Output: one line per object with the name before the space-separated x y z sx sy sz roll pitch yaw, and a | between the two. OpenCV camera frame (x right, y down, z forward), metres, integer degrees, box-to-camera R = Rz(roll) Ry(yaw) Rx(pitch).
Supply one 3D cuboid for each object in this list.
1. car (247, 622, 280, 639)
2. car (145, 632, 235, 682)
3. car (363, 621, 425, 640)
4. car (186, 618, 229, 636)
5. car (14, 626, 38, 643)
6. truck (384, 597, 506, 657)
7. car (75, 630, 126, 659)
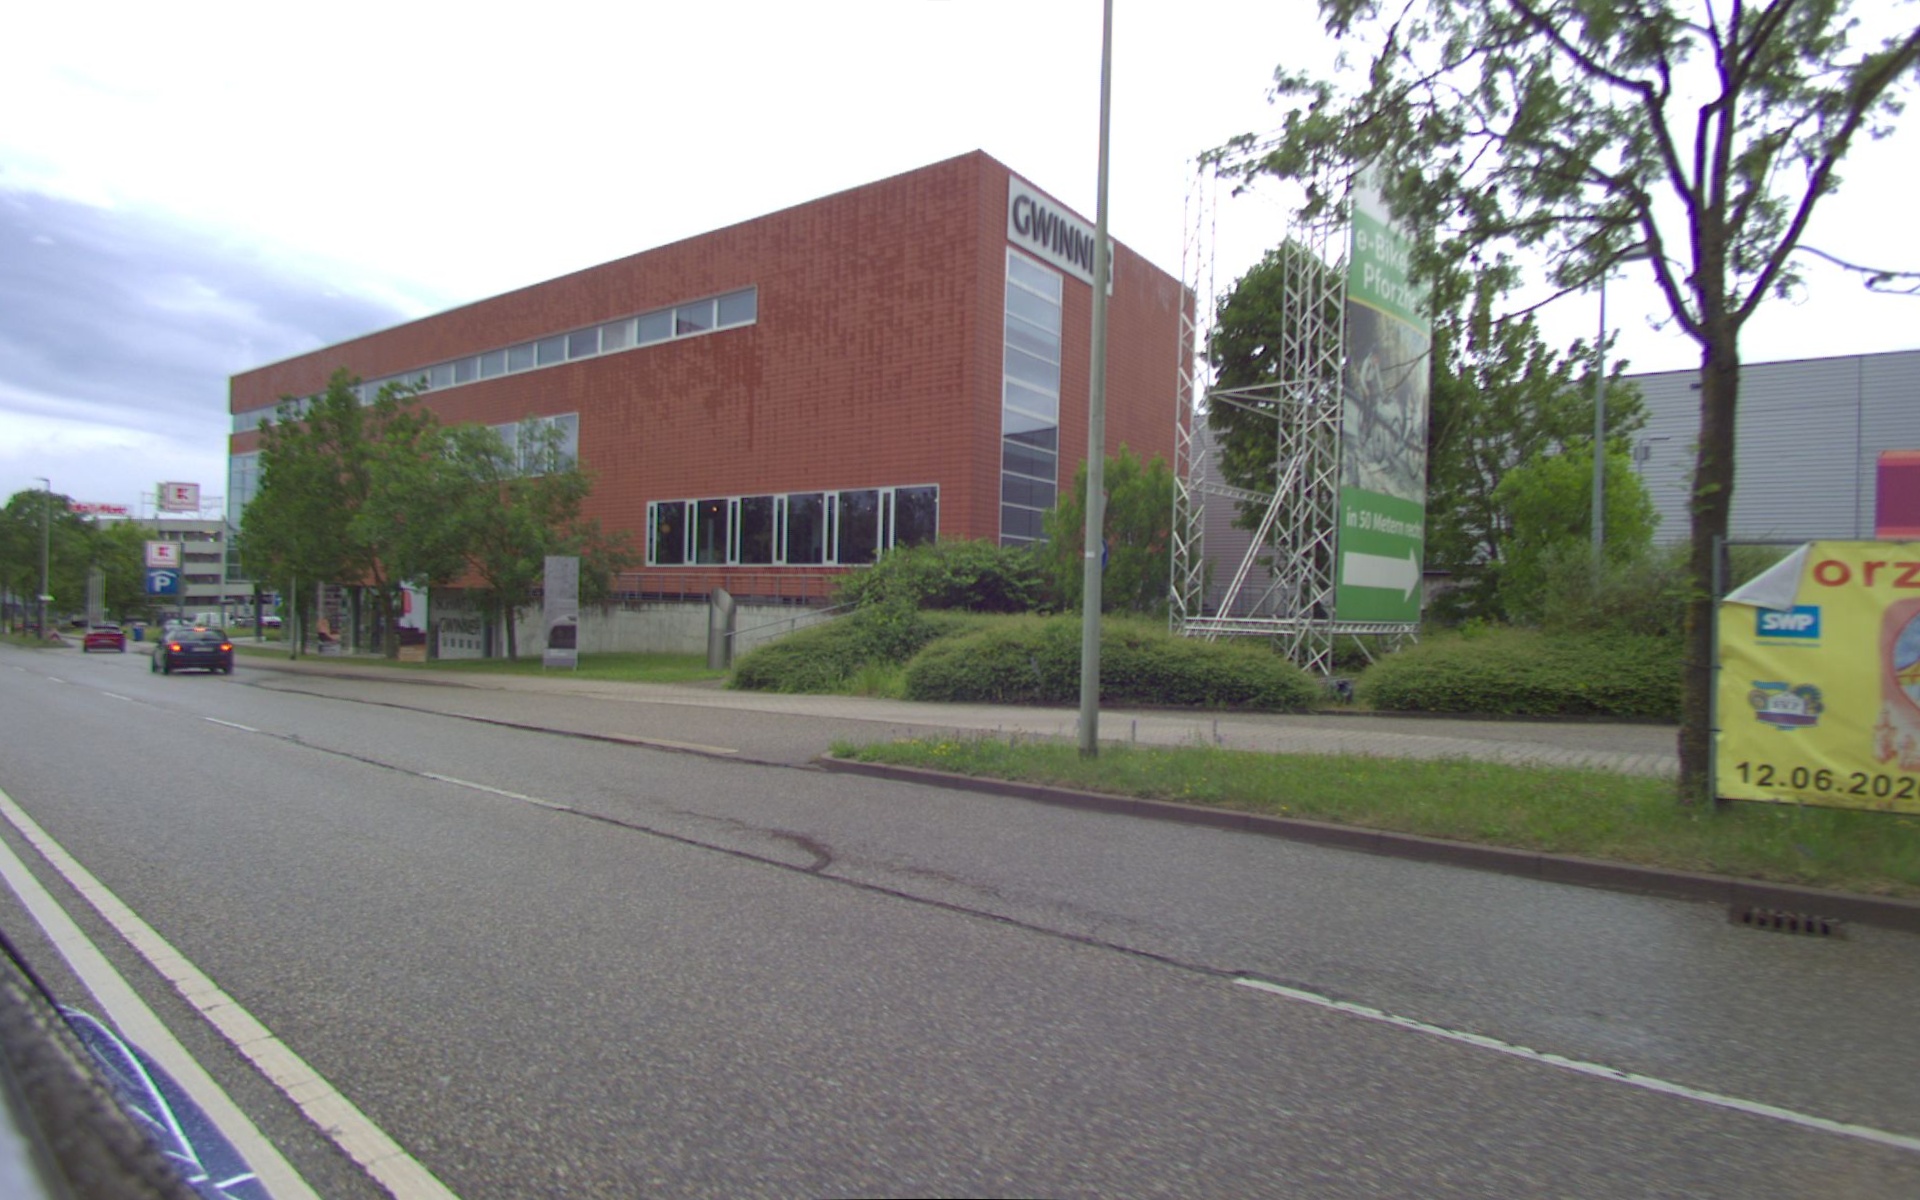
car | -56.928 2.478 82.665 3.449 1.293 1.490 0 0 42
car | -24.654 1.789 32.372 4.002 1.465 1.717 -2 -4 45
car | -49.992 2.661 89.431 1.832 1.630 4.380 -1 -2 39
car | -69.029 2.487 92.835 4.428 1.630 1.812 -1 -2 35
car | -97.103 3.558 105.203 1.806 1.630 4.004 -1 0 -43
truck | -30.081 1.568 59.336 2.020 3.333 6.079 0 -2 36
car | -46.410 2.396 54.612 4.218 1.518 1.657 -2 -3 44
